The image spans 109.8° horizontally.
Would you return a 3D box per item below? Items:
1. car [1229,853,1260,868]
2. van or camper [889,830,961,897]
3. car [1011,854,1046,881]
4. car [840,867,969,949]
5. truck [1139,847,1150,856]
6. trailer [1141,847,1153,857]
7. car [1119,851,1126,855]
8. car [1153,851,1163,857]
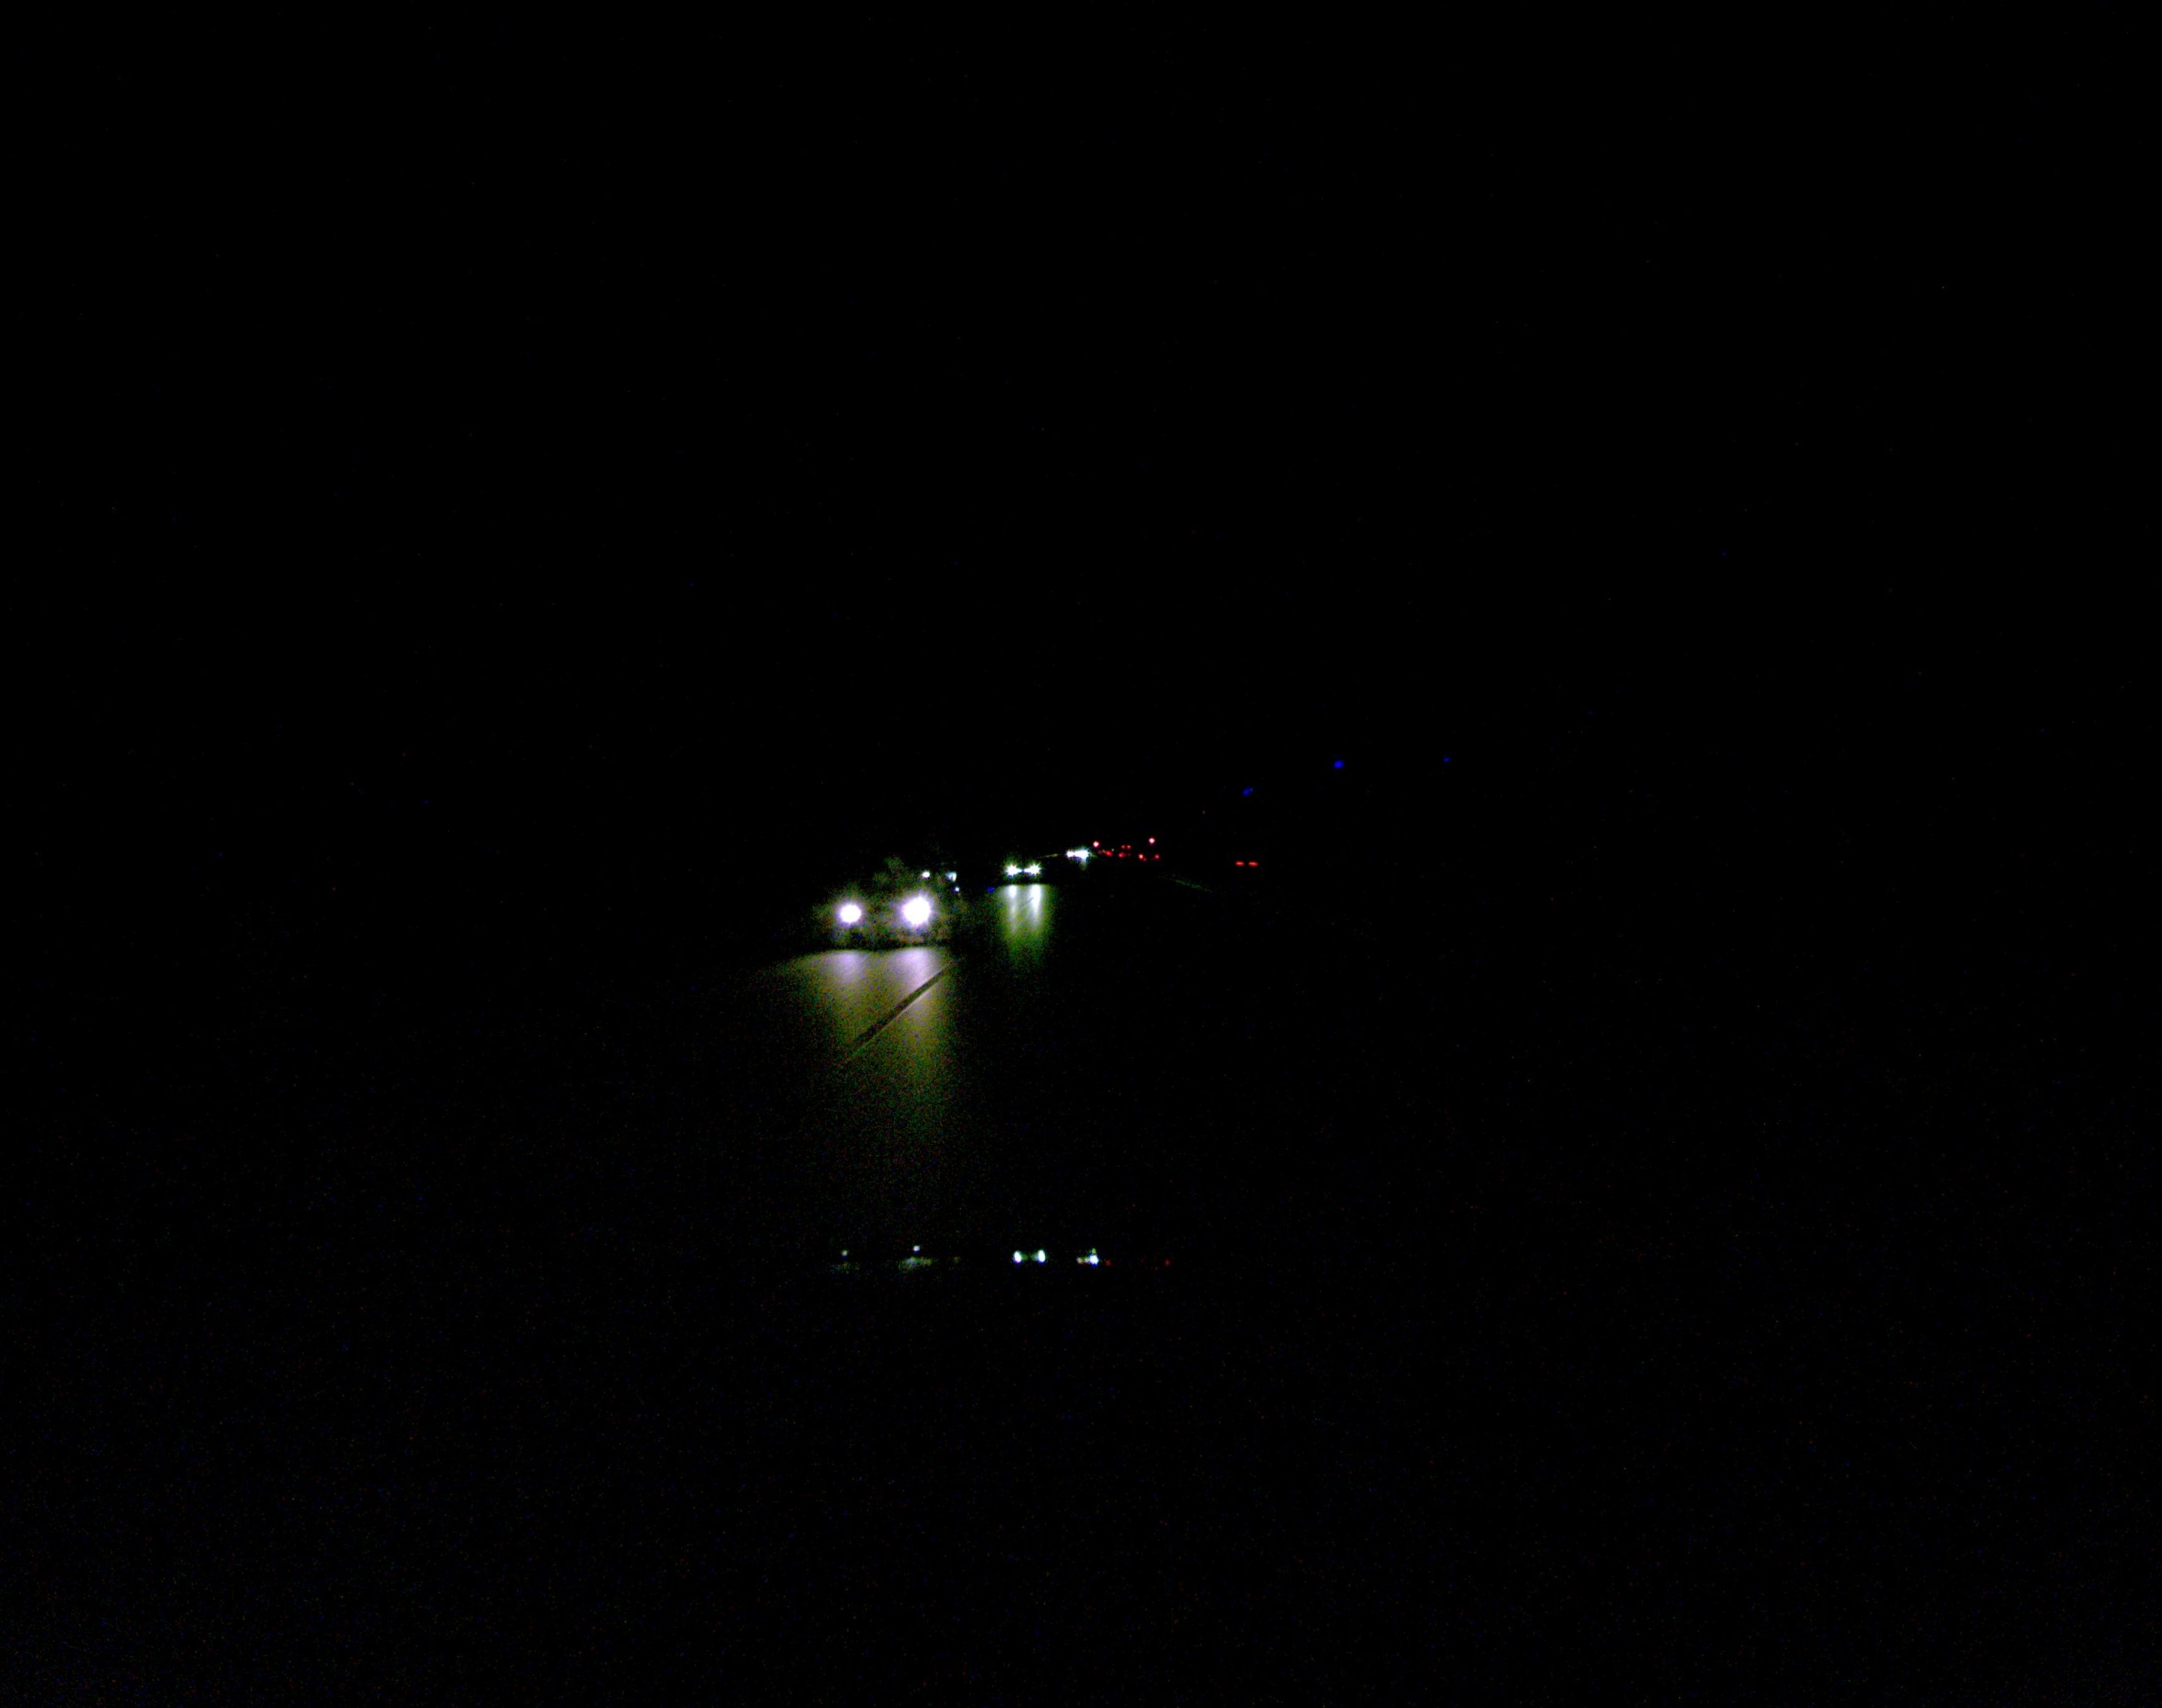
[{"bbox_3d":[16.907,0.656,78.720,1.999,1.495,5.200,1,0,-1],"label":"car"},{"bbox_3d":[-7.203,0.392,35.817,2.213,2.755,6.802,-2,0,-3],"label":"van or camper"},{"bbox_3d":[-3.189,0.814,47.139,1.795,1.532,4.225,-2,0,0],"label":"car"},{"bbox_3d":[-3.578,1.027,16.136,1.690,1.405,4.225,-2,0,0],"label":"car"},{"bbox_3d":[13.412,-0.557,160.142,1.998,1.931,5.240,0,1,1],"label":"truck"},{"bbox_3d":[13.335,-0.485,154.233,1.998,1.928,6.622,0,0,1],"label":"trailer"},{"bbox_3d":[13.695,-0.368,253.133,1.999,1.386,5.705,0,0,0],"label":"car"},{"bbox_3d":[18.387,0.065,181.278,1.998,1.476,4.800,1,0,0],"label":"car"}]
